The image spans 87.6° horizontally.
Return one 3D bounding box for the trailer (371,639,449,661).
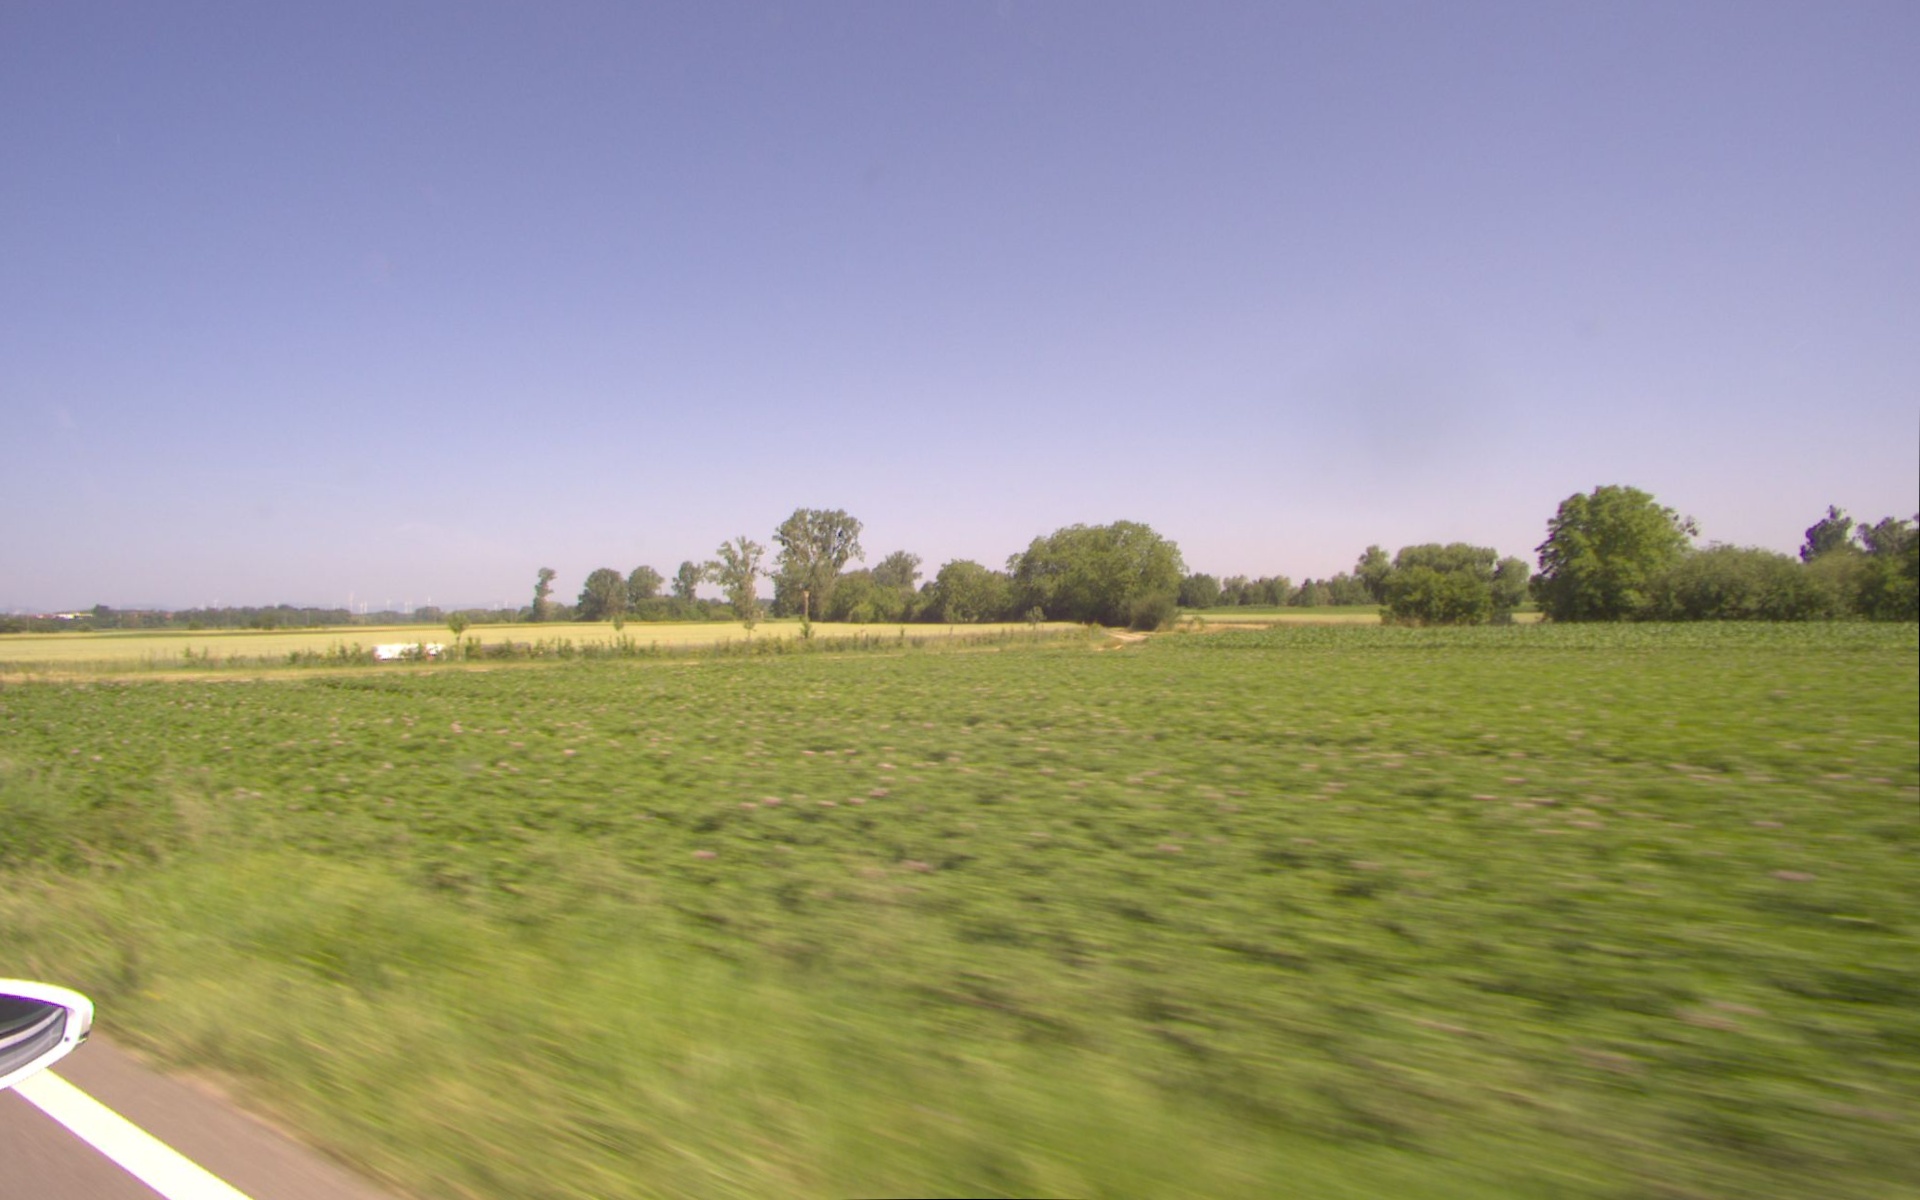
[{"bbox_3d":[-31.285,2.837,56.999,1.646,1.204,3.566,-2,-3,44],"label":"trailer"}]
